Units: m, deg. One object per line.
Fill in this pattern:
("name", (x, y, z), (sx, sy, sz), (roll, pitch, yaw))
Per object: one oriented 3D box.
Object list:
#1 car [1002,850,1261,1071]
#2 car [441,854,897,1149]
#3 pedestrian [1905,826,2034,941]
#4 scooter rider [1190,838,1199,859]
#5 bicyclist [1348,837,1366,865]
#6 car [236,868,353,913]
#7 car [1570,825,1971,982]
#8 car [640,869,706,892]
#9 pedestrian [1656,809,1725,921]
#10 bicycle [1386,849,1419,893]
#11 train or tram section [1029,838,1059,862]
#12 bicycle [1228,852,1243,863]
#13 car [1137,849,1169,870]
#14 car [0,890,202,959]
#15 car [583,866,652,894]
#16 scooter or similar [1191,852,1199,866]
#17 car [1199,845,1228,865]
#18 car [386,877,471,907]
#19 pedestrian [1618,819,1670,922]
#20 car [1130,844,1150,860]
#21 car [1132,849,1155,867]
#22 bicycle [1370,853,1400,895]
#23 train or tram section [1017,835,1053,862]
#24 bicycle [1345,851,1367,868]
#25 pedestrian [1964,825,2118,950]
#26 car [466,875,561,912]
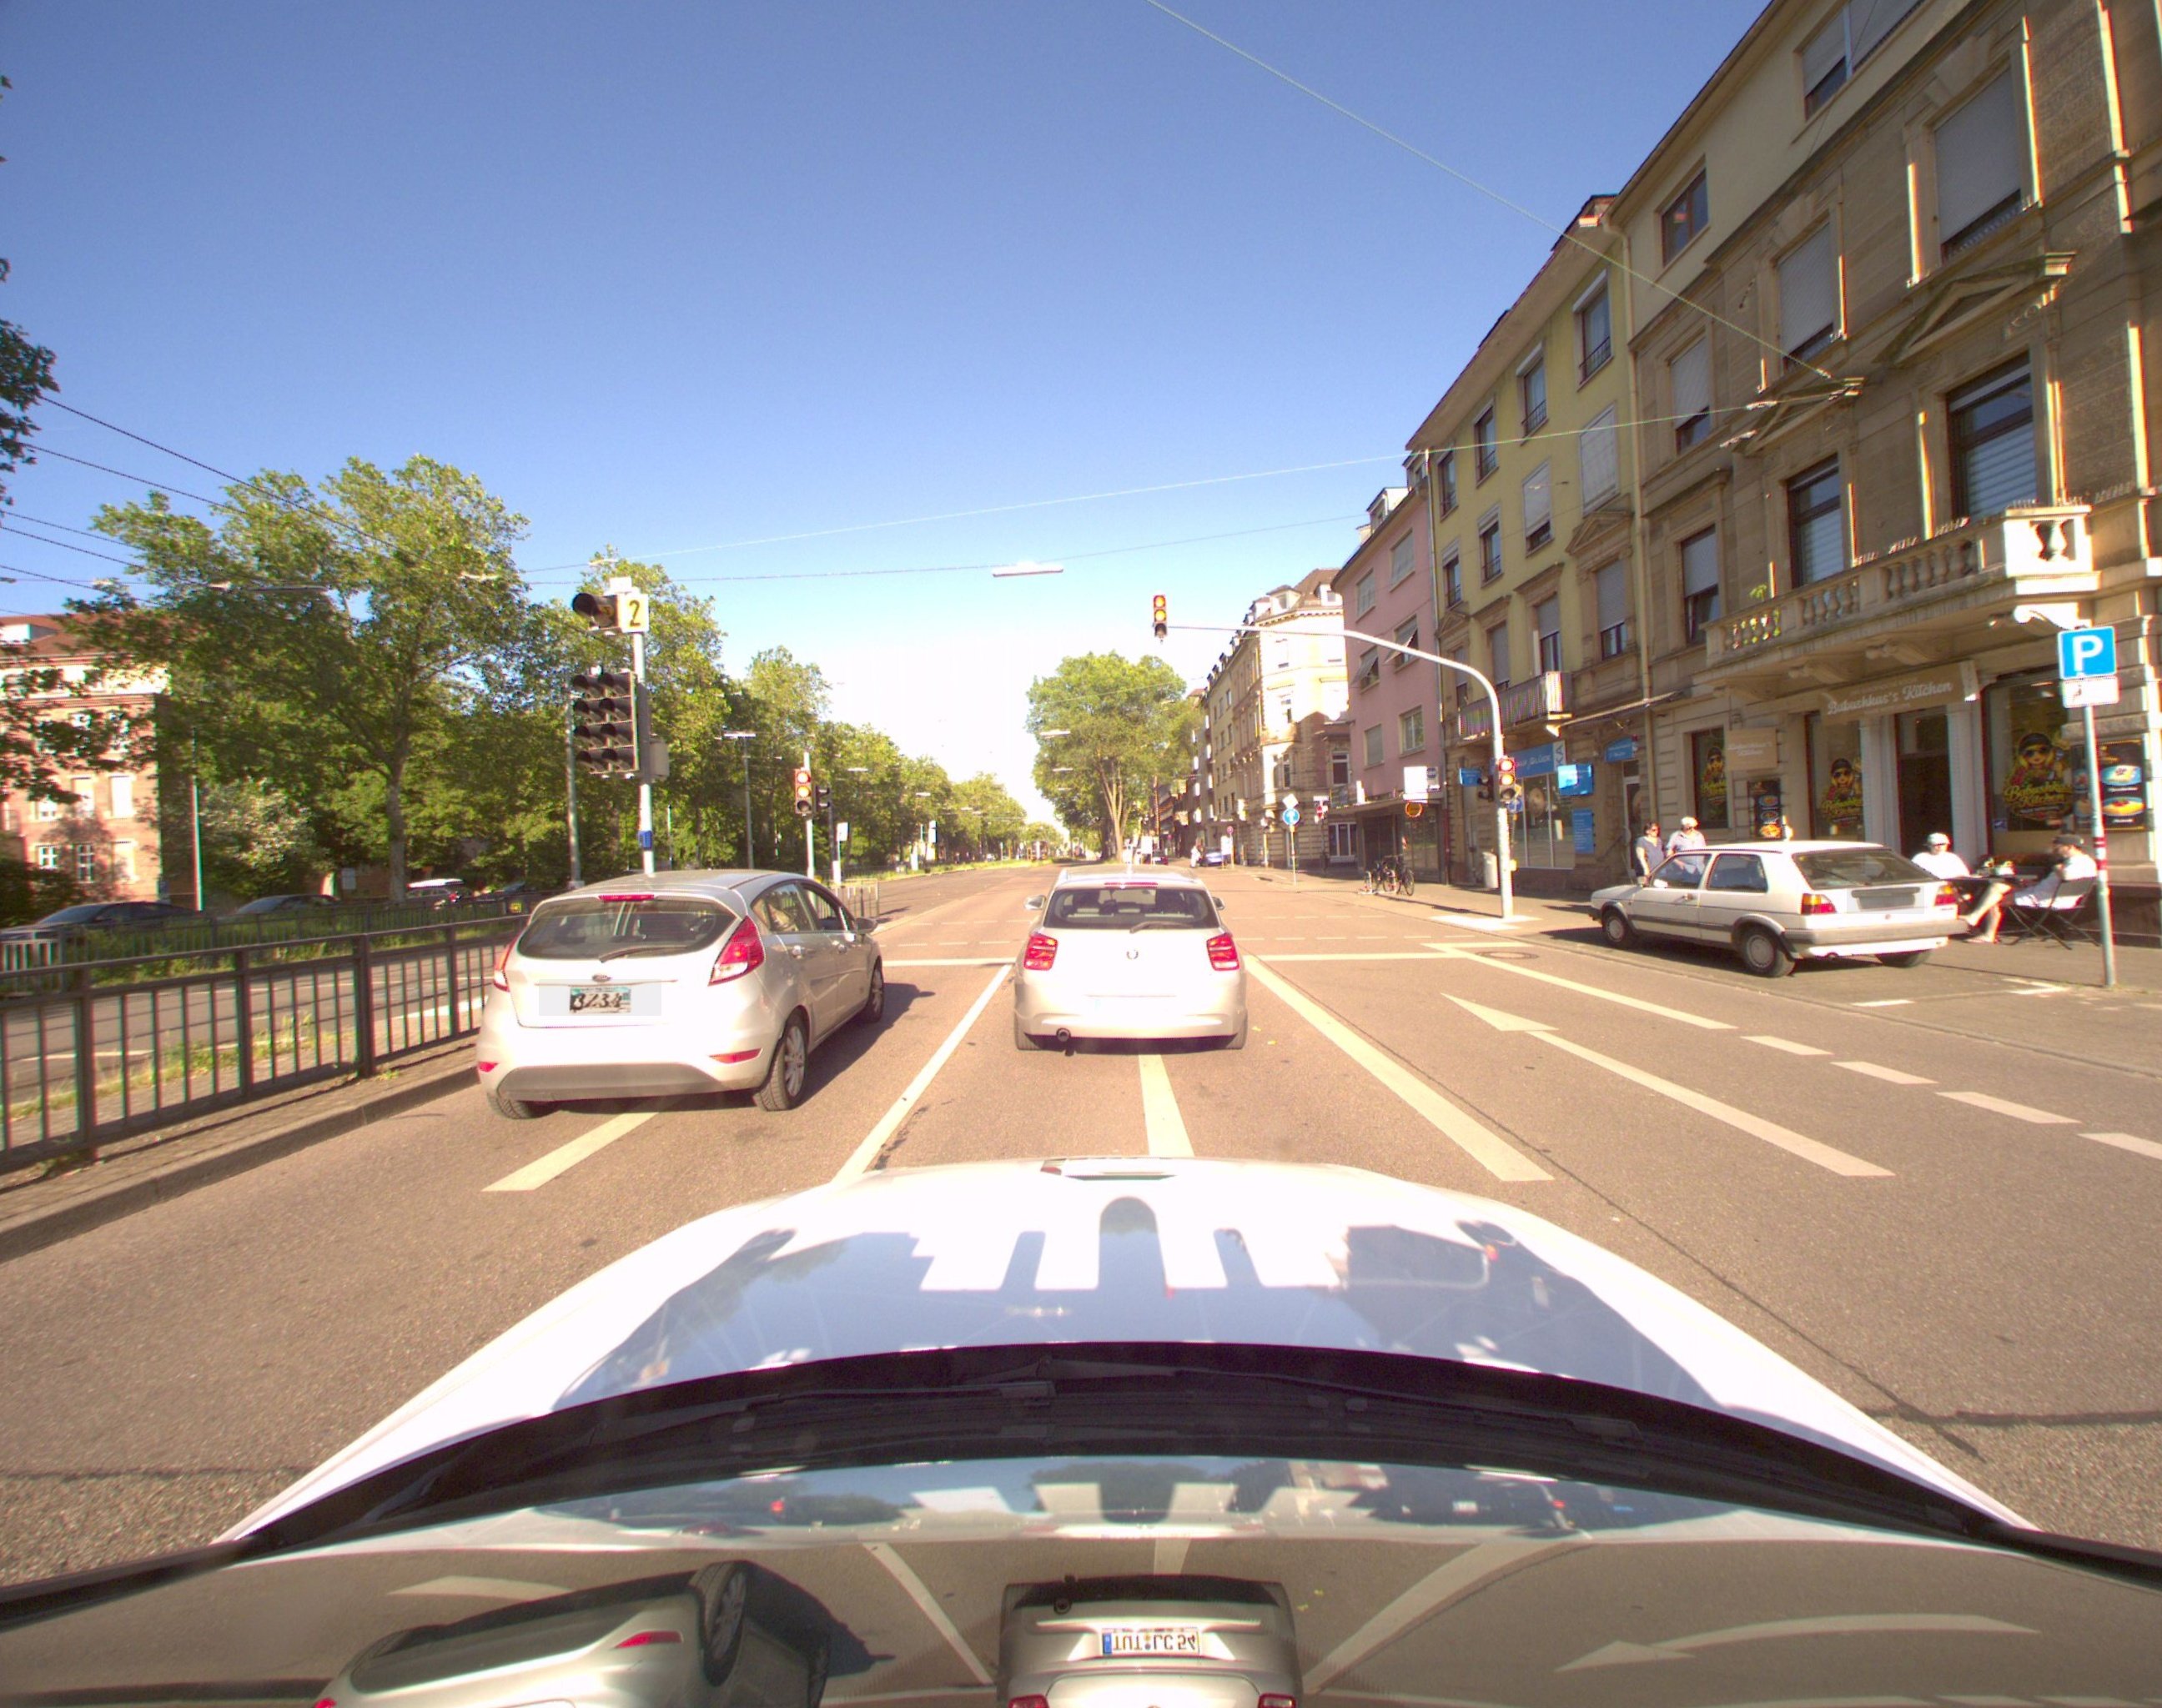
("car", (0.401, 0.712, 7.497), (1.733, 1.467, 4.002), (-1, 0, 2))
("car", (-2.605, 0.770, 6.250), (1.605, 1.467, 3.886), (-2, 0, -3))
("pedestrian", (10.727, 0.344, 9.855), (0.795, 1.281, 0.608), (-6, 0, -1))
("scooter rider", (8.471, -0.425, 60.678), (0.464, 1.505, 0.810), (-2, 0, -2))
("bicyclist", (15.584, -0.166, 45.995), (0.541, 1.502, 0.967), (-2, 0, 43))
("car", (-40.428, 1.840, 42.015), (1.986, 2.013, 4.002), (-2, 0, 2))
("car", (8.047, 0.481, 10.090), (1.557, 1.415, 4.005), (-6, 0, 2))
("car", (-27.491, 1.771, 55.024), (1.929, 1.349, 4.849), (-2, -1, 0))
("pedestrian", (10.180, 0.174, 13.616), (0.670, 1.806, 0.531), (-3, 0, 1))
("bicycle", (9.144, 0.464, 23.212), (0.446, 1.159, 1.762), (-2, 0, 8))
("train or tram section", (-6.597, -0.745, 148.159), (3.990, 3.865, 17.496), (-2, 0, 2))
("bicycle", (12.163, 0.279, 64.114), (0.752, 0.770, 1.945), (-2, 0, 0))
("car", (5.095, 0.353, 58.136), (1.731, 1.433, 3.674), (-1, 0, -3))
("car", (-27.848, 1.926, 22.902), (1.664, 1.509, 4.145), (-2, 0, 0))
("car", (-27.779, 1.523, 48.954), (1.664, 1.509, 4.145), (-2, 0, 0))
("scooter or similar", (8.473, 0.362, 60.723), (0.336, 0.988, 1.283), (-2, 0, -3))
("car", (10.321, 0.073, 63.792), (1.729, 1.519, 3.637), (-1, 0, 1))
("car", (-37.960, 2.191, 47.406), (3.968, 1.494, 1.396), (-2, 0, 5))
("pedestrian", (9.556, 0.276, 13.839), (0.547, 1.708, 0.389), (-3, 0, 4))
("car", (5.926, -0.201, 82.122), (1.719, 1.507, 3.555), (-1, 0, 0))
("car", (5.279, 0.314, 69.530), (1.719, 1.507, 3.555), (-1, 0, 0))
("bicycle", (8.649, 0.543, 23.228), (0.411, 1.140, 1.814), (-2, 0, 8))
("train or tram section", (-7.210, -0.862, 130.639), (3.954, 3.865, 17.496), (-2, 0, 2))
("bicycle", (15.529, 0.301, 45.937), (0.646, 0.903, 1.346), (-2, 0, 43))
("pedestrian", (10.797, 0.362, 9.182), (0.899, 1.281, 0.655), (-6, 0, -4))
("car", (-27.720, 1.911, 39.946), (1.664, 1.509, 4.145), (-2, 0, 0))
